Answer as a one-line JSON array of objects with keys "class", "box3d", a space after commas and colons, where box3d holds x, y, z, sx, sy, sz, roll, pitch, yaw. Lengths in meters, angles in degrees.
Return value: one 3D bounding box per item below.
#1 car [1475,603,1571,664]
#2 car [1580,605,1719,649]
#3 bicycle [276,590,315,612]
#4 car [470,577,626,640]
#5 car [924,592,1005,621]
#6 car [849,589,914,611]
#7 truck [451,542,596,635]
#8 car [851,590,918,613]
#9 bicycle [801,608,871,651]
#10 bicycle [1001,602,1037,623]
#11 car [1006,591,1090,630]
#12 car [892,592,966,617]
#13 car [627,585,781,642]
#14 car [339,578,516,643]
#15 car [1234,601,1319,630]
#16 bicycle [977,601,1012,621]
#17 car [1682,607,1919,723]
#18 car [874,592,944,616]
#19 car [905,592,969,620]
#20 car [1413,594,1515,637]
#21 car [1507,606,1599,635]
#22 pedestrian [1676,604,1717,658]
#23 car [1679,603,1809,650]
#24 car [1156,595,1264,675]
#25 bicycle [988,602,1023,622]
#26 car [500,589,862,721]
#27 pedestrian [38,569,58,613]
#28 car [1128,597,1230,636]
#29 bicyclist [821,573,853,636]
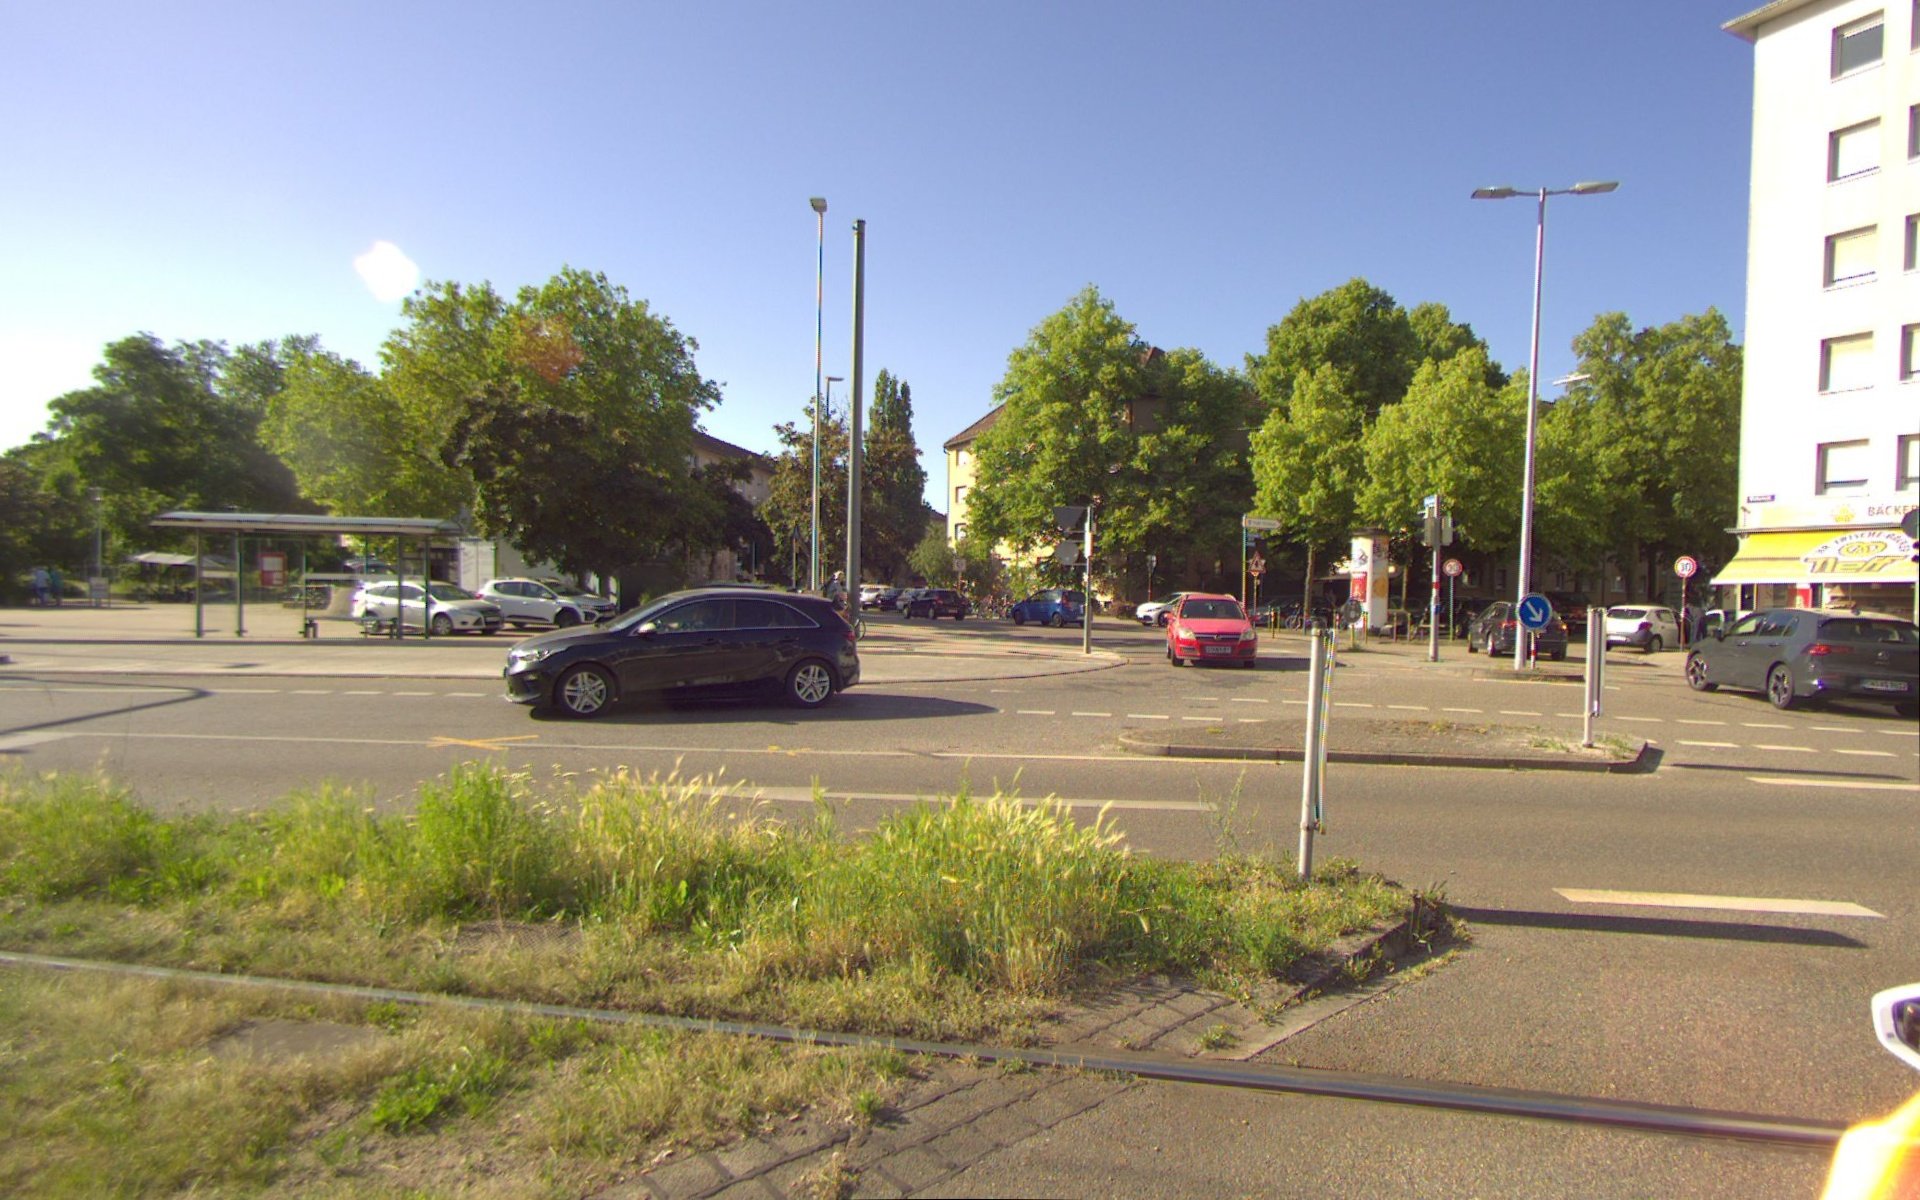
[{"class": "car", "box3d": [15.488, 0.854, 27.823, 1.731, 1.506, 4.292, 1, 1, 22]}, {"class": "car", "box3d": [22.644, 0.877, 32.981, 3.944, 1.328, 1.988, 1, 1, -24]}, {"class": "bicycle", "box3d": [-26.977, 0.027, 40.774, 1.653, 0.850, 0.547, 1, 1, 24]}, {"class": "car", "box3d": [-12.302, 0.228, 30.139, 3.919, 1.741, 1.764, 1, 4, 4]}, {"class": "car", "box3d": [0.253, 0.345, 54.092, 3.953, 1.460, 1.903, 1, 1, -30]}, {"class": "car", "box3d": [-5.230, -0.001, 67.282, 3.921, 1.356, 1.806, 1, 1, 19]}, {"class": "truck", "box3d": [-15.306, -0.438, 35.533, 1.960, 3.035, 4.828, 1, 1, 19]}, {"class": "car", "box3d": [-4.834, 0.094, 64.645, 3.921, 1.356, 1.806, 1, 1, 19]}, {"class": "bicycle", "box3d": [-3.111, 0.729, 25.190, 1.635, 1.015, 0.610, -1, 2, -24]}, {"class": "bicycle", "box3d": [2.958, 0.627, 50.518, 1.890, 1.008, 0.504, 0, 1, -34]}, {"class": "car", "box3d": [3.456, 0.390, 39.903, 1.632, 1.457, 3.367, 1, 1, -31]}, {"class": "car", "box3d": [-1.787, 0.234, 58.645, 3.921, 1.356, 1.806, 1, 1, 19]}, {"class": "car", "box3d": [-7.249, 0.361, 28.724, 3.930, 1.509, 1.763, 0, 4, -1]}, {"class": "car", "box3d": [-14.938, 0.246, 28.220, 4.460, 1.565, 1.872, 2, 4, 20]}, {"class": "car", "box3d": [14.753, 0.717, 46.789, 3.650, 1.311, 1.590, 0, 0, -23]}, {"class": "bicycle", "box3d": [1.824, 0.581, 52.328, 1.890, 1.008, 0.504, 0, 1, -34]}, {"class": "car", "box3d": [12.584, 0.873, 15.118, 1.594, 1.448, 3.689, 1, 1, 16]}, {"class": "car", "box3d": [-3.110, 0.204, 61.634, 3.921, 1.356, 1.806, 1, 1, 19]}, {"class": "car", "box3d": [-1.143, 0.273, 48.246, 1.674, 1.270, 3.600, 1, 1, -27]}, {"class": "car", "box3d": [20.153, 0.599, 40.268, 1.650, 1.623, 3.281, 0, 0, -29]}, {"class": "car", "box3d": [27.421, 0.924, 46.557, 3.375, 1.206, 1.668, 1, 1, 19]}, {"class": "pedestrian", "box3d": [23.022, 0.968, 31.397, 0.821, 1.643, 0.786, 0, 1, -34]}, {"class": "car", "box3d": [27.778, 0.927, 35.595, 3.881, 1.533, 1.932, 1, 1, -22]}, {"class": "car", "box3d": [5.357, 0.673, 22.030, 1.720, 1.509, 4.546, 1, 1, 7]}, {"class": "bicycle", "box3d": [2.339, 0.626, 51.440, 1.890, 1.008, 0.504, 0, 1, -34]}, {"class": "car", "box3d": [-3.426, 0.610, 12.420, 4.093, 1.410, 1.655, 1, 1, -25]}, {"class": "pedestrian", "box3d": [-38.763, -0.380, 42.704, 0.554, 1.854, 0.720, 1, 1, -37]}, {"class": "car", "box3d": [9.746, 0.724, 44.667, 4.163, 1.639, 1.757, 0, 1, -21]}, {"class": "bicyclist", "box3d": [-3.079, 0.112, 25.180, 0.666, 1.551, 0.610, -1, 2, -23]}]
